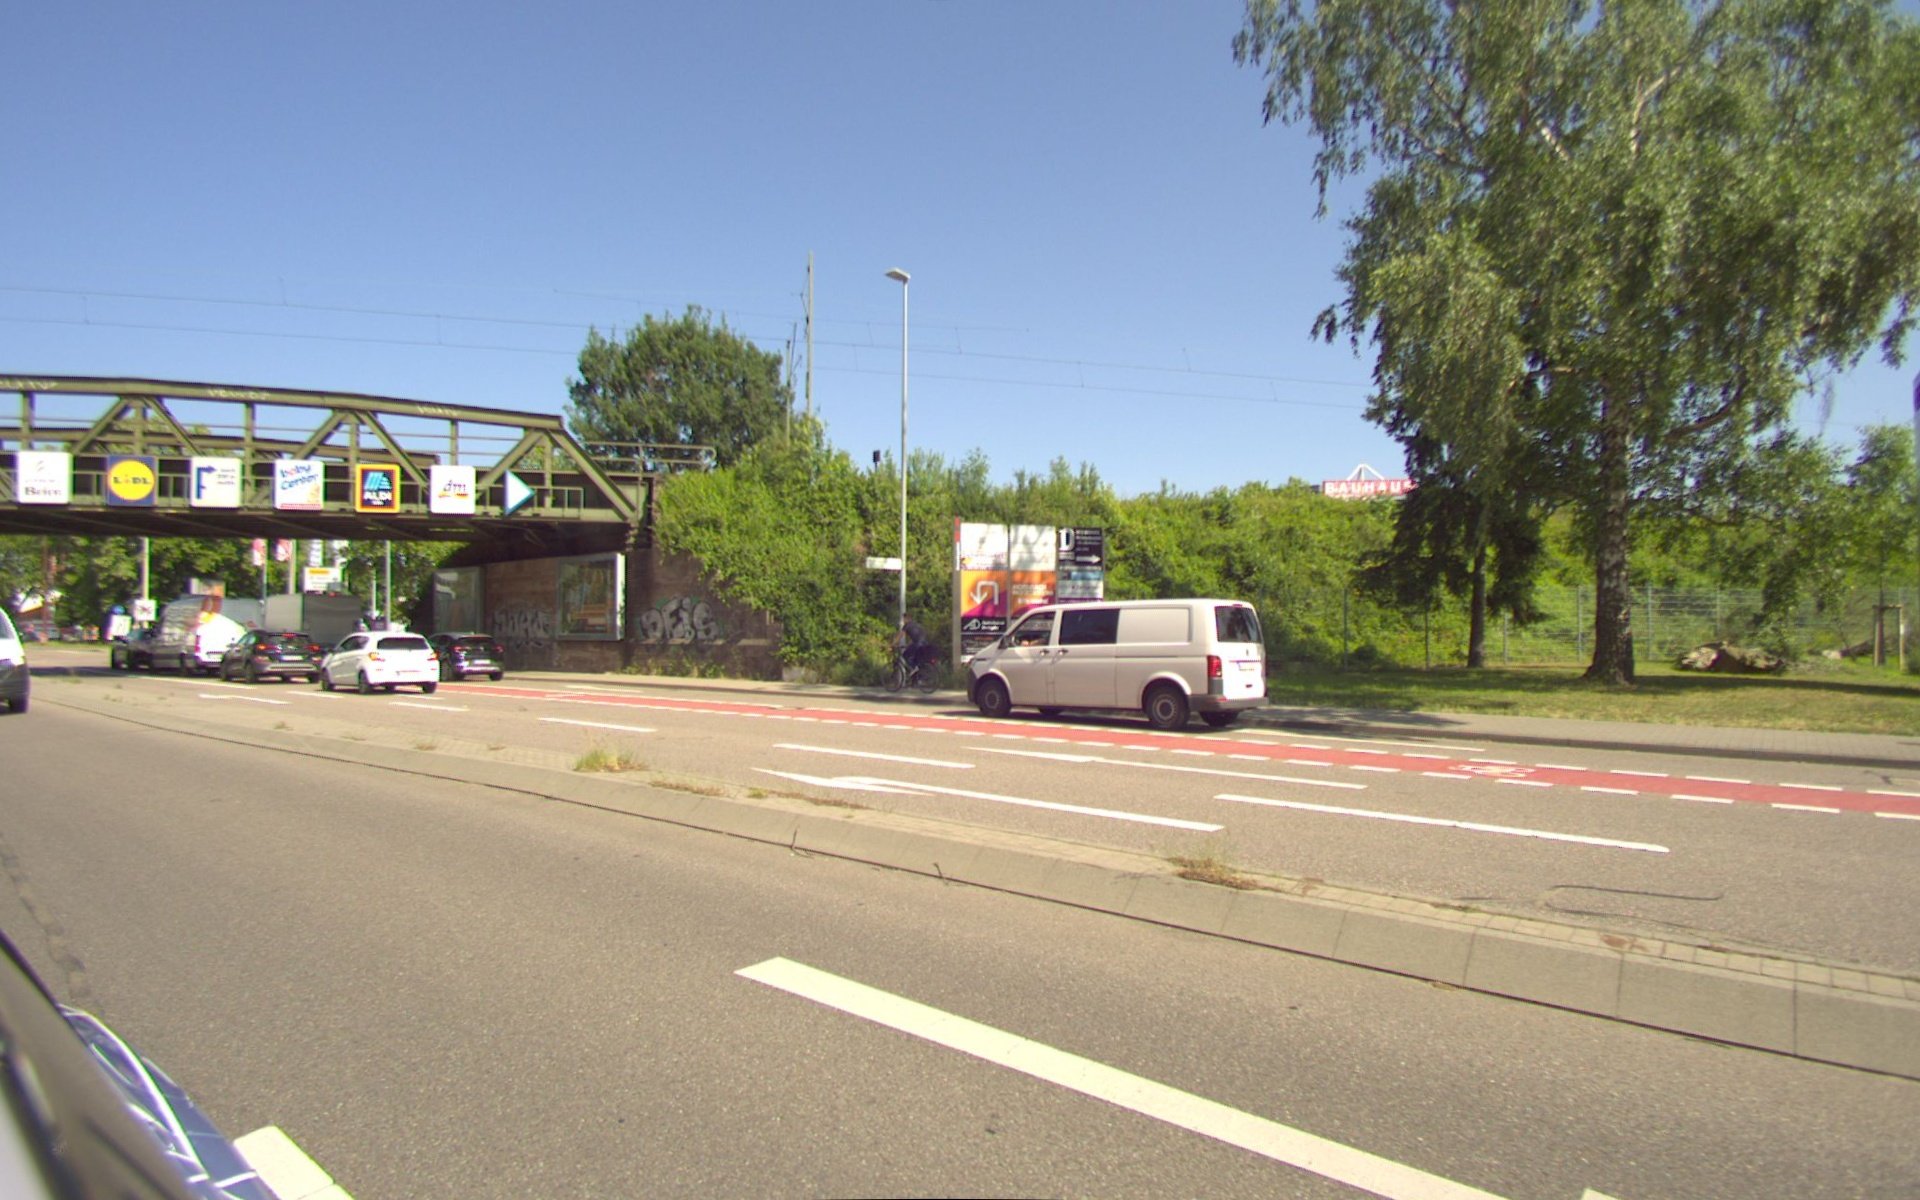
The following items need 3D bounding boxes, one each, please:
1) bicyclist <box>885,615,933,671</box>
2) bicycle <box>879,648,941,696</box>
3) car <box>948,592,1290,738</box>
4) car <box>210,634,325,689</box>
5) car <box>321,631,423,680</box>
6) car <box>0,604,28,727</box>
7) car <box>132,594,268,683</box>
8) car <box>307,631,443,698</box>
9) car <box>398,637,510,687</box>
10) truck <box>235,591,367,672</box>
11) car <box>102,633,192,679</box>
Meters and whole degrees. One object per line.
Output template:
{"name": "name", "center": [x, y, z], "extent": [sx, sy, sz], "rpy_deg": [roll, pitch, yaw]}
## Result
{"name": "bicyclist", "center": [-1.164, 0.972, 23.089], "extent": [0.951, 1.237, 0.626], "rpy_deg": [-2, -3, 45]}
{"name": "bicycle", "center": [-1.151, 1.629, 23.143], "extent": [1.616, 1.035, 0.441], "rpy_deg": [-2, -3, 45]}
{"name": "car", "center": [2.437, 1.004, 16.635], "extent": [5.344, 2.029, 1.972], "rpy_deg": [-2, -3, 41]}
{"name": "car", "center": [-20.572, 1.824, 30.002], "extent": [4.174, 1.506, 1.750], "rpy_deg": [-3, -5, 41]}
{"name": "car", "center": [-21.915, 2.082, 37.669], "extent": [4.284, 1.703, 1.963], "rpy_deg": [-3, -5, 40]}
{"name": "car", "center": [-18.073, 1.124, 17.738], "extent": [4.969, 2.009, 1.863], "rpy_deg": [-2, -2, 39]}
{"name": "car", "center": [-26.363, 1.363, 34.978], "extent": [6.929, 2.827, 1.974], "rpy_deg": [-2, -4, 39]}
{"name": "car", "center": [-14.324, 1.579, 24.714], "extent": [3.825, 1.506, 1.626], "rpy_deg": [-3, -5, 39]}
{"name": "car", "center": [-16.532, 2.030, 32.988], "extent": [4.174, 1.506, 1.750], "rpy_deg": [-3, -5, 41]}
{"name": "truck", "center": [-27.390, 1.319, 41.950], "extent": [7.057, 3.112, 2.319], "rpy_deg": [-2, -2, 37]}
{"name": "car", "center": [-32.496, 2.185, 40.394], "extent": [4.947, 1.694, 1.973], "rpy_deg": [-2, -2, 41]}
